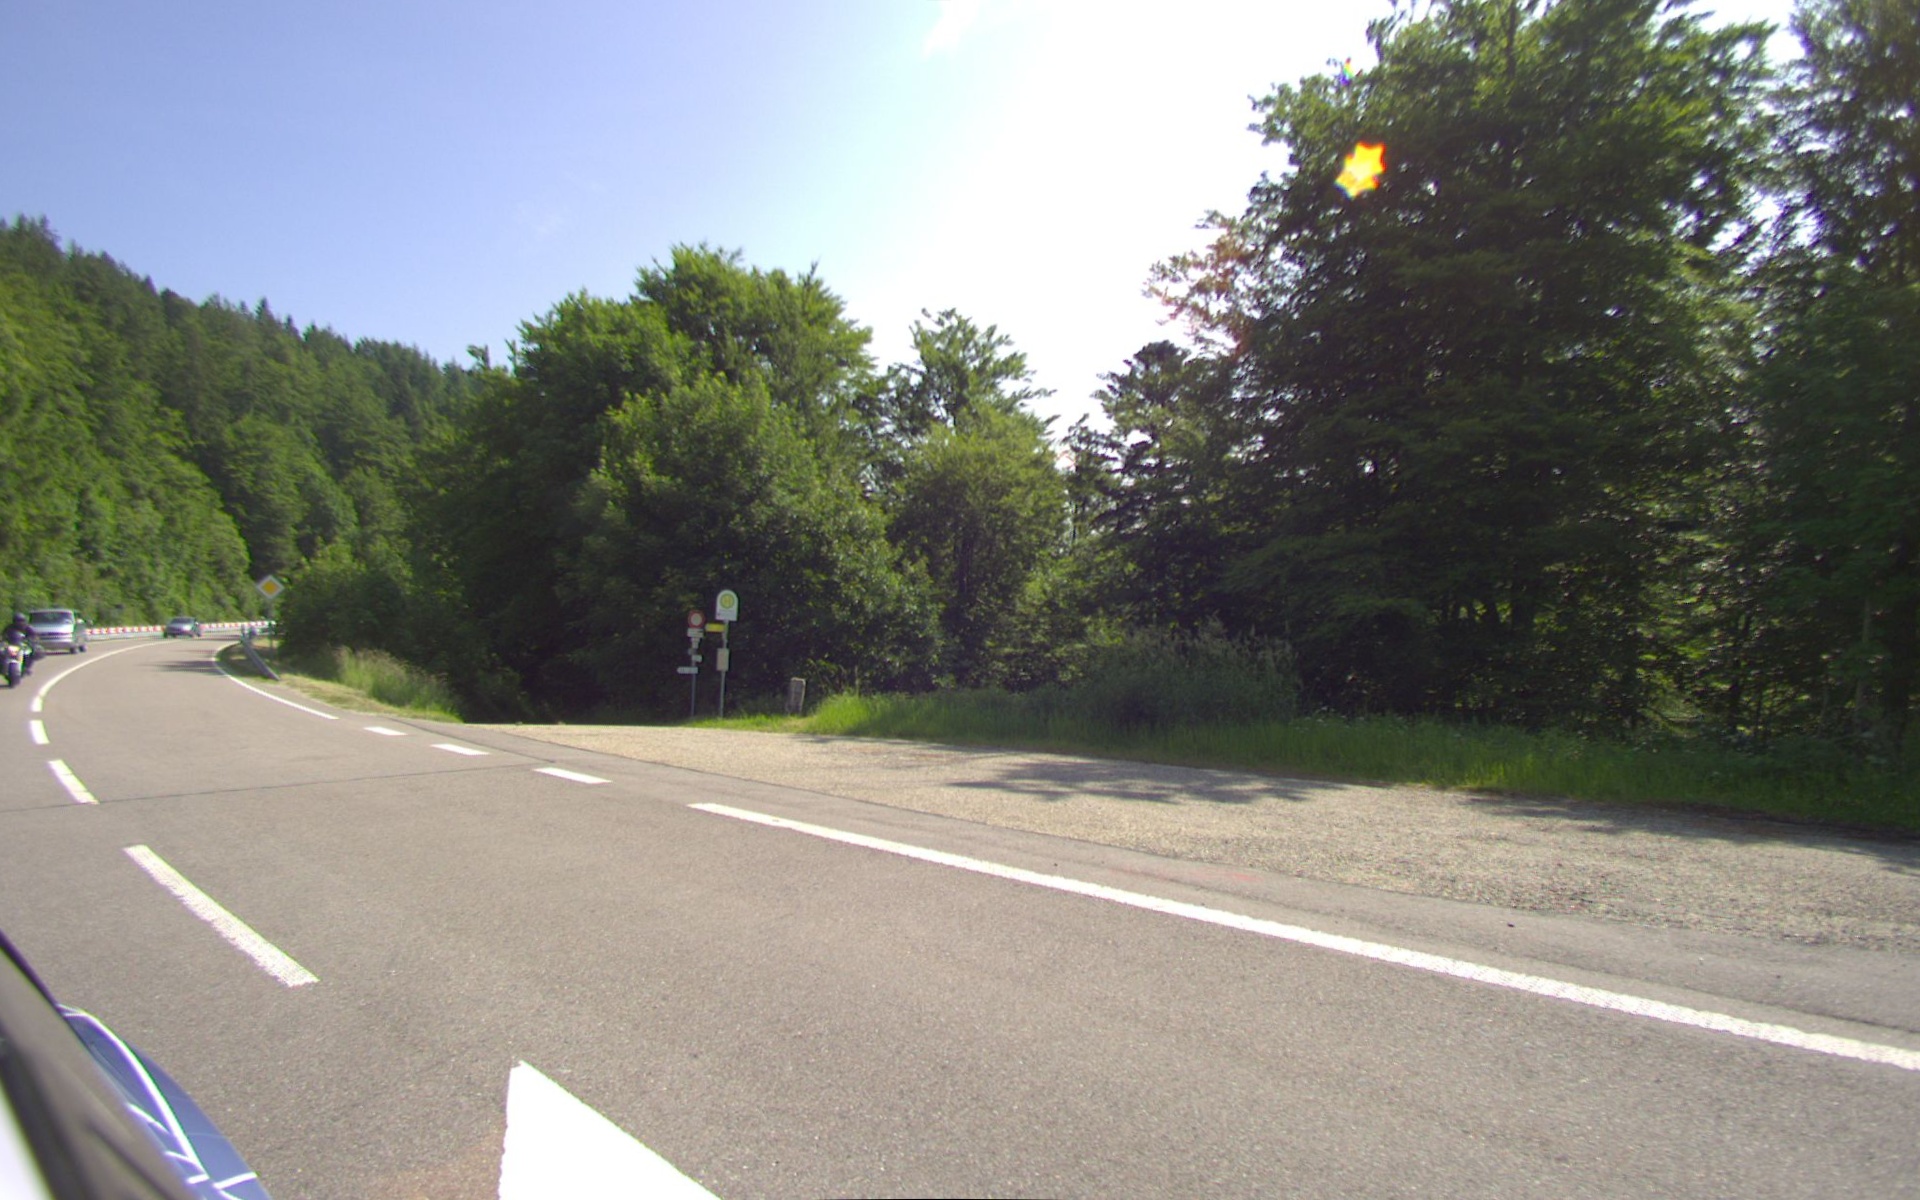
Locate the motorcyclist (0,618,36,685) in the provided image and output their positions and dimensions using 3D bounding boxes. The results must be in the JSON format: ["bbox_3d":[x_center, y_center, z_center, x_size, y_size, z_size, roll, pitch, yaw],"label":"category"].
[{"bbox_3d":[-21.176,1.144,22.631,0.706,1.441,1.000,-3,0,-43],"label":"motorcyclist"}]

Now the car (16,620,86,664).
[{"bbox_3d":[-38.377,1.745,42.790,1.626,1.773,3.805,1,-1,-33],"label":"car"}]

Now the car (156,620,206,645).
[{"bbox_3d":[-54.664,2.263,71.123,1.965,1.655,4.013,-1,-1,-26],"label":"car"}]

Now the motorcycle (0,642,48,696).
[{"bbox_3d":[-21.198,1.520,22.635,1.093,1.132,1.964,0,-2,-39],"label":"motorcycle"}]
